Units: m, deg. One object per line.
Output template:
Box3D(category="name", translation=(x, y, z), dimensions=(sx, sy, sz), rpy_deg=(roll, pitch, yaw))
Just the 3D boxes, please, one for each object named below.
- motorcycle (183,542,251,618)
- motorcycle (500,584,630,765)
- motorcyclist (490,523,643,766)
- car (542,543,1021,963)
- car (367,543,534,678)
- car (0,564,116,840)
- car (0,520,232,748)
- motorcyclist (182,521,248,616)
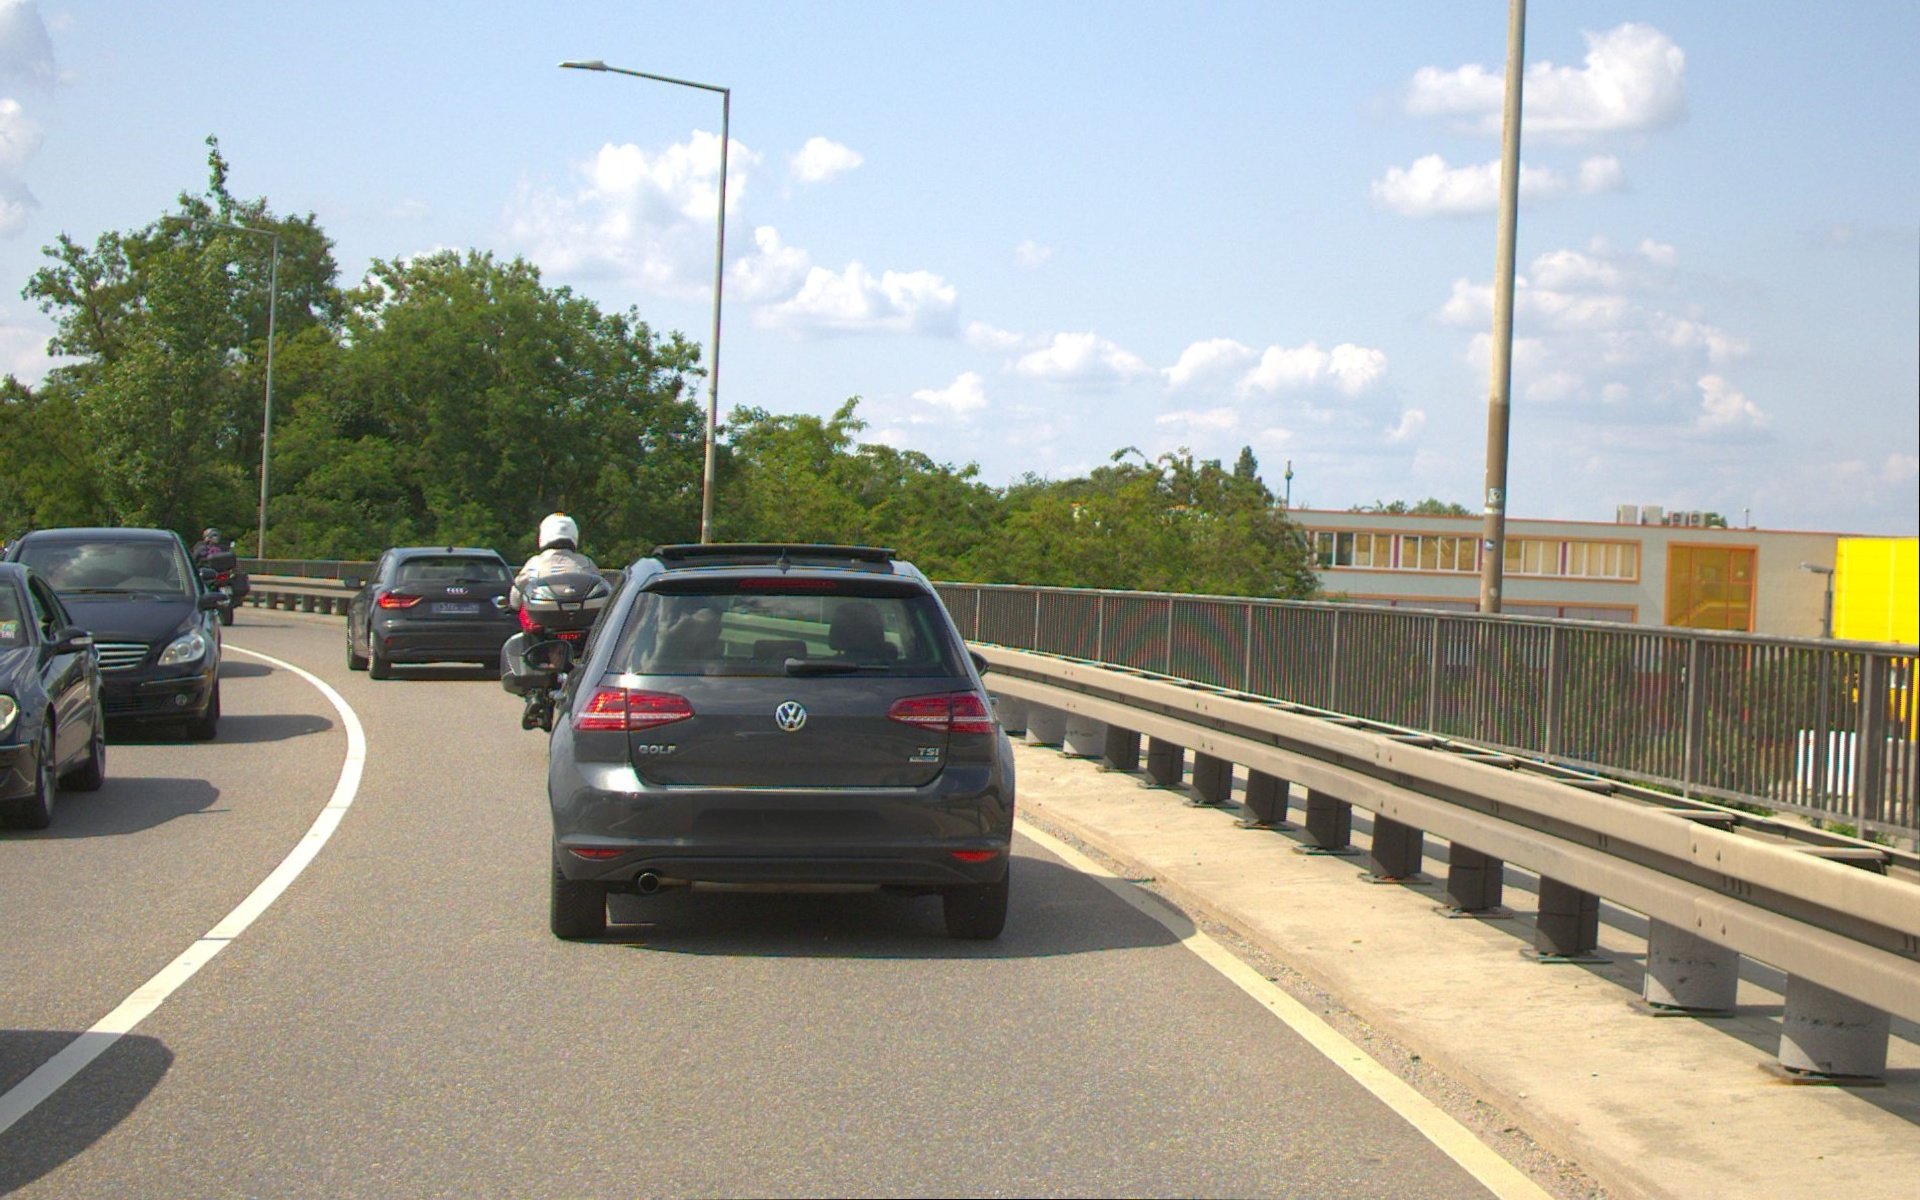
Box3D(category="motorcycle", translation=(-12.701, -0.353, 58.704), dimensions=(0.887, 1.243, 2.400), rpy_deg=(1, 1, -18))
Box3D(category="motorcycle", translation=(-2.718, 0.478, 23.489), dimensions=(0.789, 1.128, 2.400), rpy_deg=(1, 1, -8))
Box3D(category="motorcyclist", translation=(-2.712, 0.293, 23.610), dimensions=(0.965, 1.615, 1.125), rpy_deg=(1, 1, -9))
Box3D(category="car", translation=(-0.859, 0.527, 14.095), dimensions=(1.642, 1.474, 3.873), rpy_deg=(1, 1, -7))
Box3D(category="car", translation=(-5.572, 0.116, 37.303), dimensions=(1.681, 1.383, 3.740), rpy_deg=(0, 0, -10))
Box3D(category="car", translation=(-5.662, 0.489, 18.718), dimensions=(1.631, 1.340, 4.254), rpy_deg=(-1, 1, -8))
Box3D(category="car", translation=(-6.510, 0.191, 26.353), dimensions=(1.683, 1.591, 4.284), rpy_deg=(-1, 1, -10))
Box3D(category="motorcyclist", translation=(-12.762, -0.549, 58.885), dimensions=(0.965, 1.590, 1.125), rpy_deg=(1, 1, -19))
